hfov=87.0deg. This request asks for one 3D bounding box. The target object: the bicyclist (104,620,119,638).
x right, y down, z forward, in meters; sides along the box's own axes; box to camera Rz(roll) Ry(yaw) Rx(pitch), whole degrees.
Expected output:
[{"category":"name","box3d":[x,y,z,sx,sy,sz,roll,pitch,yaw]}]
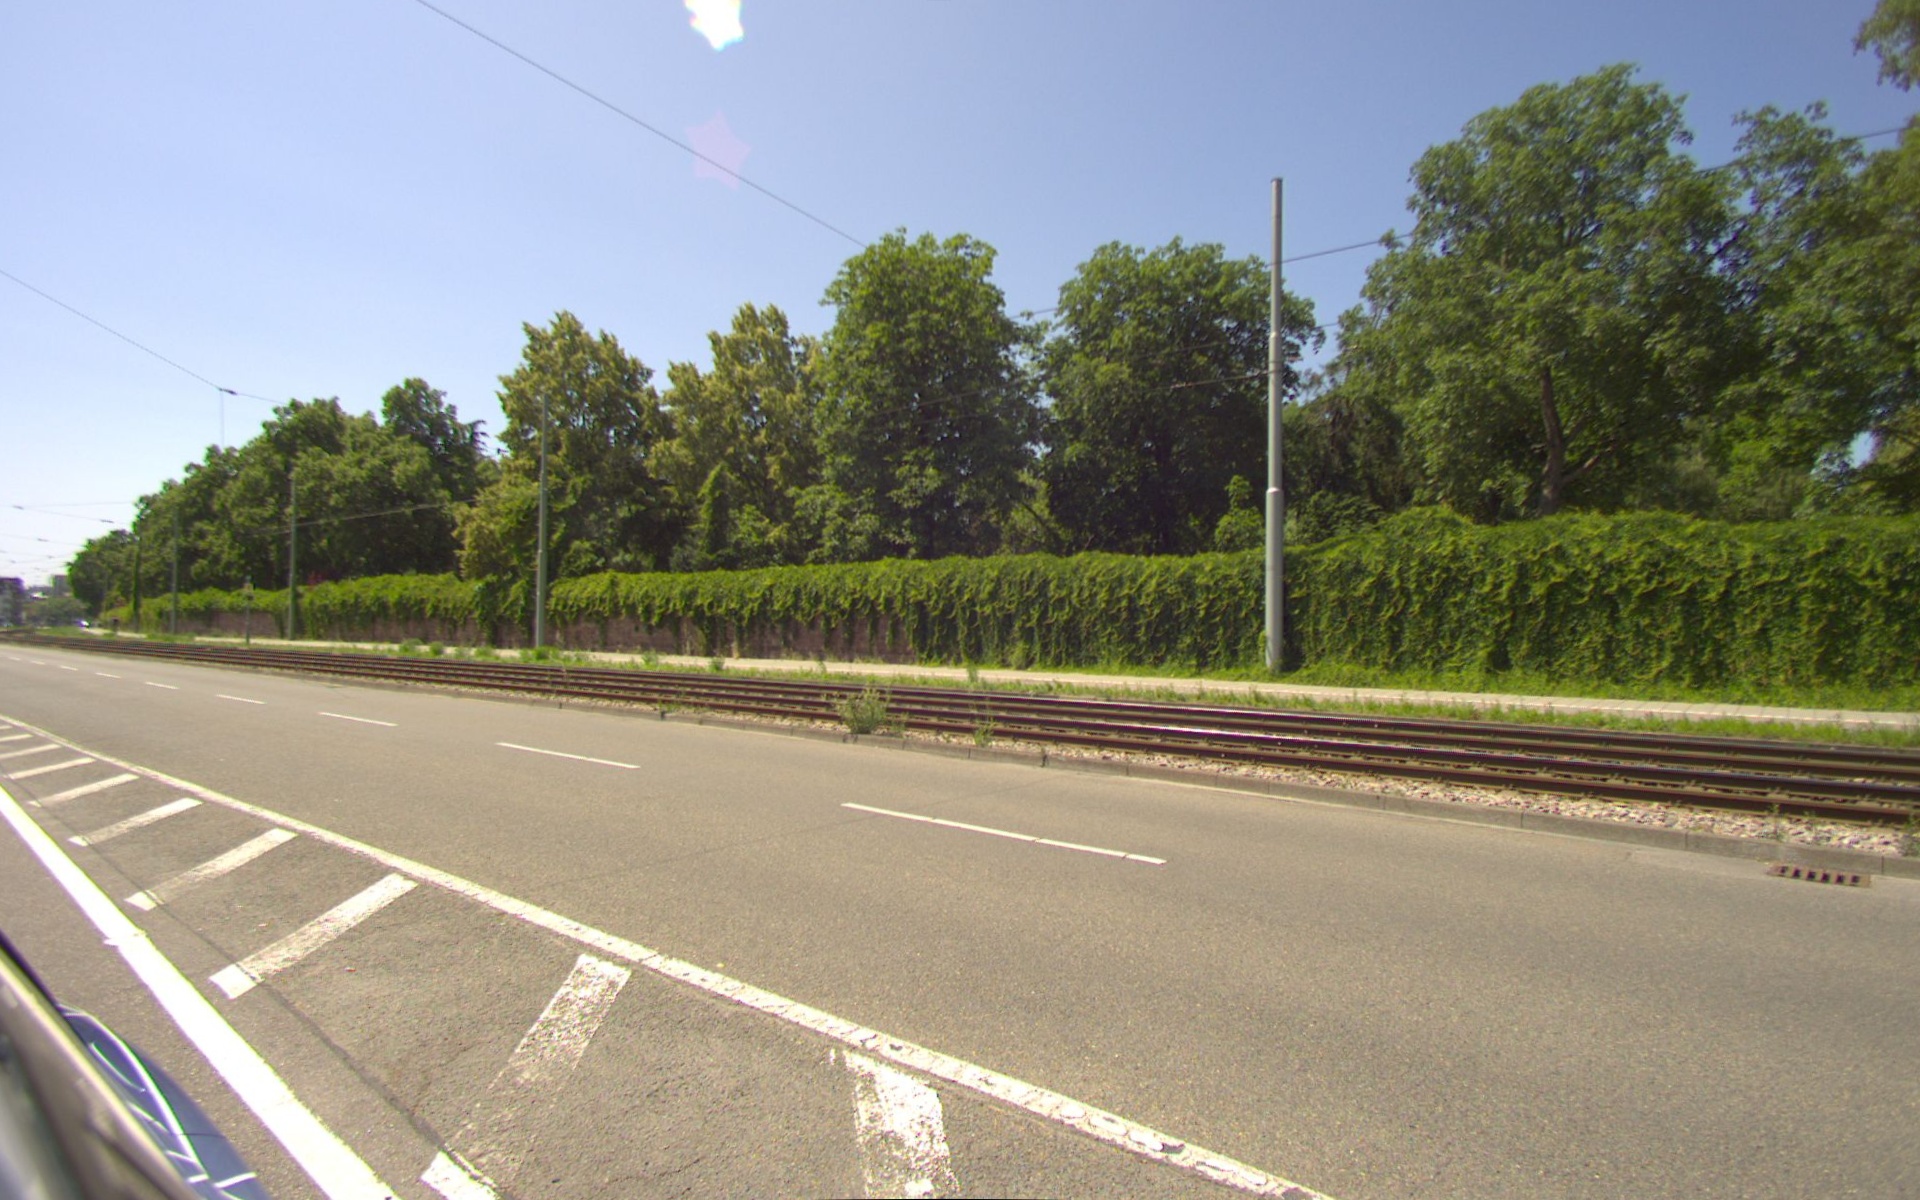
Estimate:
[{"category":"bicyclist","box3d":[-73.829,2.520,88.029,0.982,1.497,1.001,1,-2,-42]}]

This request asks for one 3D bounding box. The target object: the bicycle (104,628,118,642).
[{"category":"bicycle","box3d":[-73.866,3.068,88.051,0.818,1.165,2.689,1,-2,-42]}]
